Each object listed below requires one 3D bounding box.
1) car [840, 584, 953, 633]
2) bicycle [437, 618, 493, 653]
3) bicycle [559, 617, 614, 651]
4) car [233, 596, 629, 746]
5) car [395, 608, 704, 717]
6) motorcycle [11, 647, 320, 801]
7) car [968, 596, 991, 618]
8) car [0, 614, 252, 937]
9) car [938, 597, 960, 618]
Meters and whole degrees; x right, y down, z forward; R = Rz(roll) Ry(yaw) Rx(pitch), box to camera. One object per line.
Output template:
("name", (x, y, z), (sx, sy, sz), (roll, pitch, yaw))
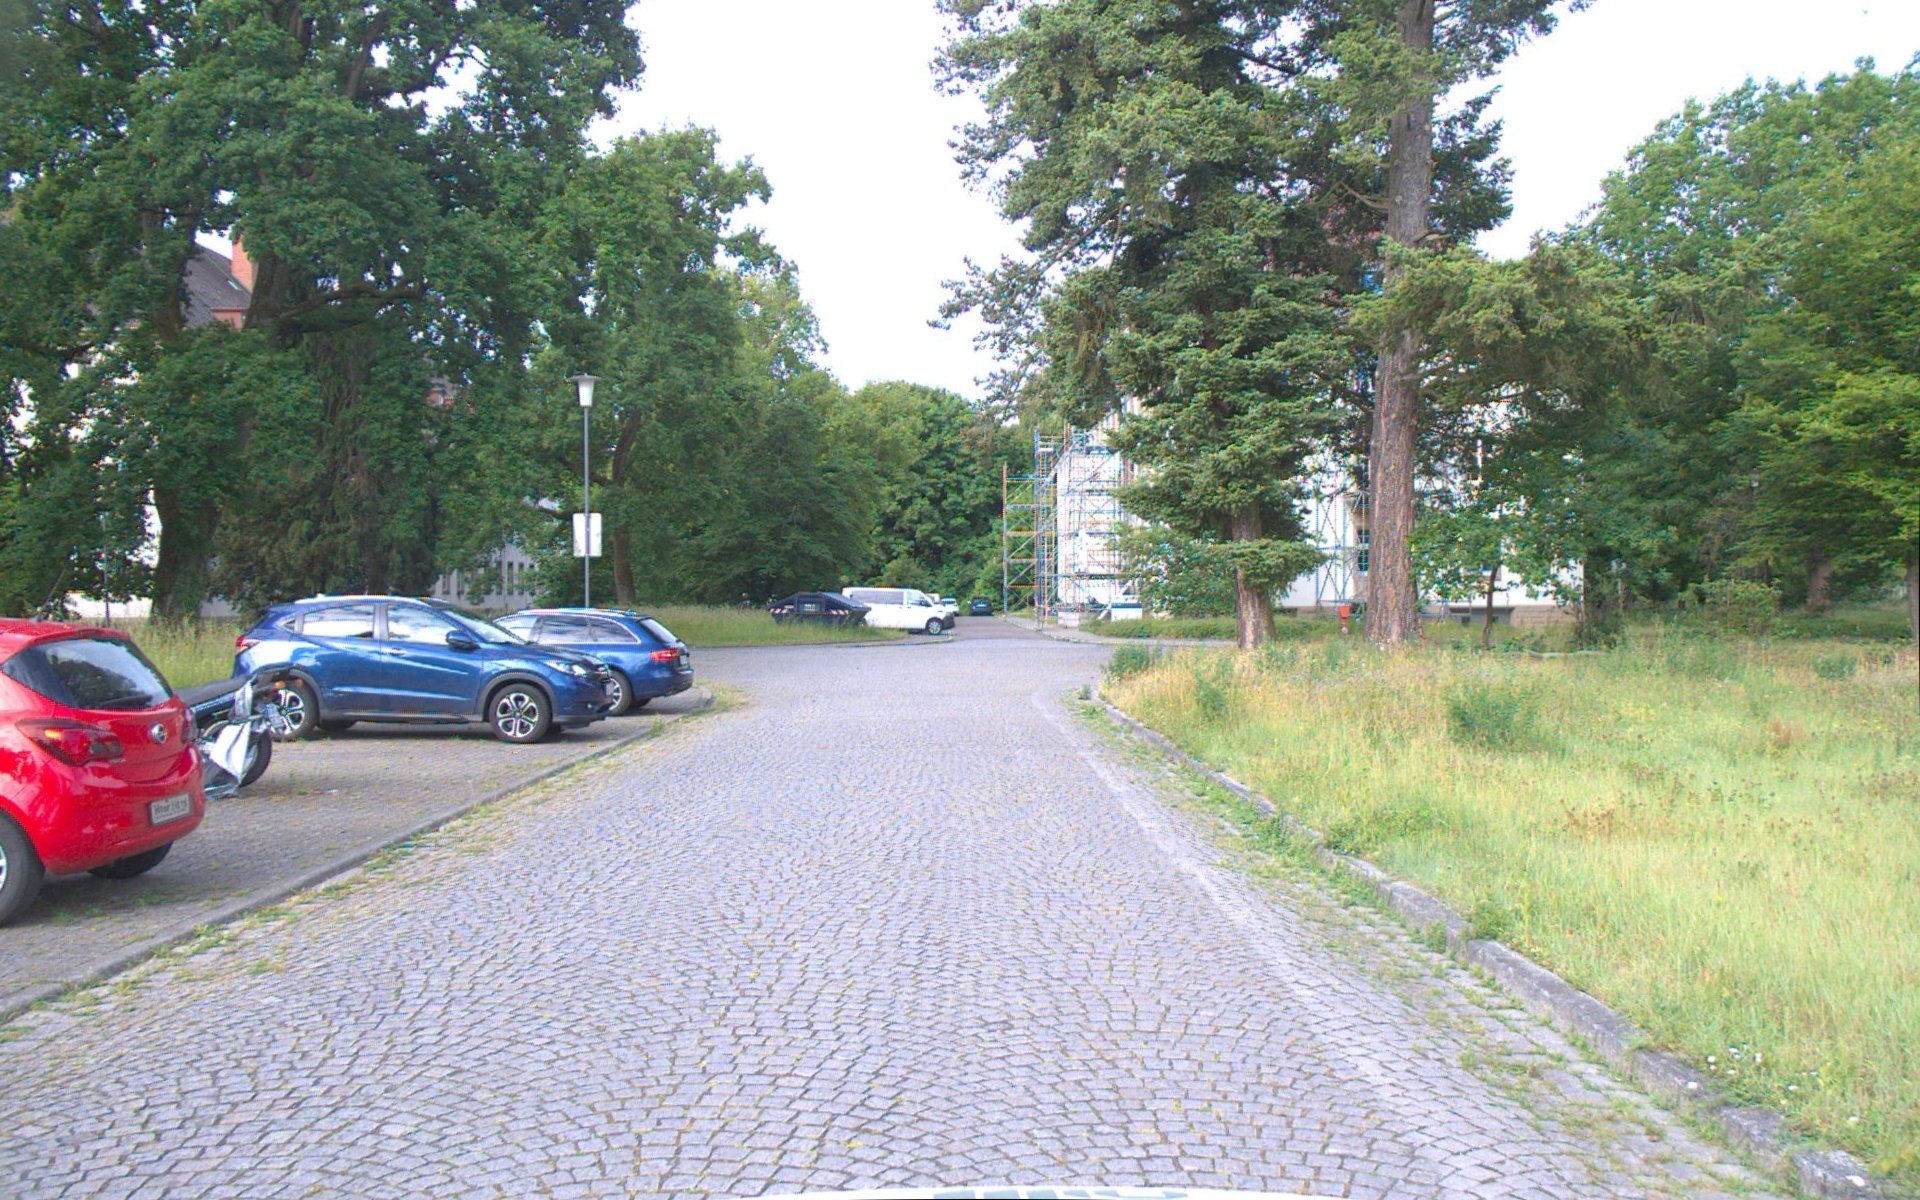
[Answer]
("car", (-2.761, 0.392, 72.734), (4.878, 2.109, 2.051), (0, -2, -2))
("bicycle", (-15.827, 1.135, 52.879), (1.677, 1.072, 0.571), (0, -2, -21))
("bicycle", (-12.092, 1.101, 53.573), (1.677, 1.072, 0.571), (0, -2, -21))
("car", (-5.966, 0.771, 19.012), (3.989, 1.632, 1.787), (0, 0, -2))
("car", (-5.821, 0.869, 23.711), (3.986, 1.493, 1.626), (0, 0, 3))
("motorcycle", (-6.374, 0.983, 13.319), (2.180, 1.179, 0.647), (0, 0, 2))
("car", (1.651, 0.576, 139.165), (1.754, 1.750, 4.059), (-1, -1, -2))
("car", (-6.010, 0.849, 8.761), (3.739, 1.515, 1.787), (0, 0, -2))
("car", (-0.916, 0.645, 138.803), (1.754, 1.665, 4.059), (-1, -1, -2))
